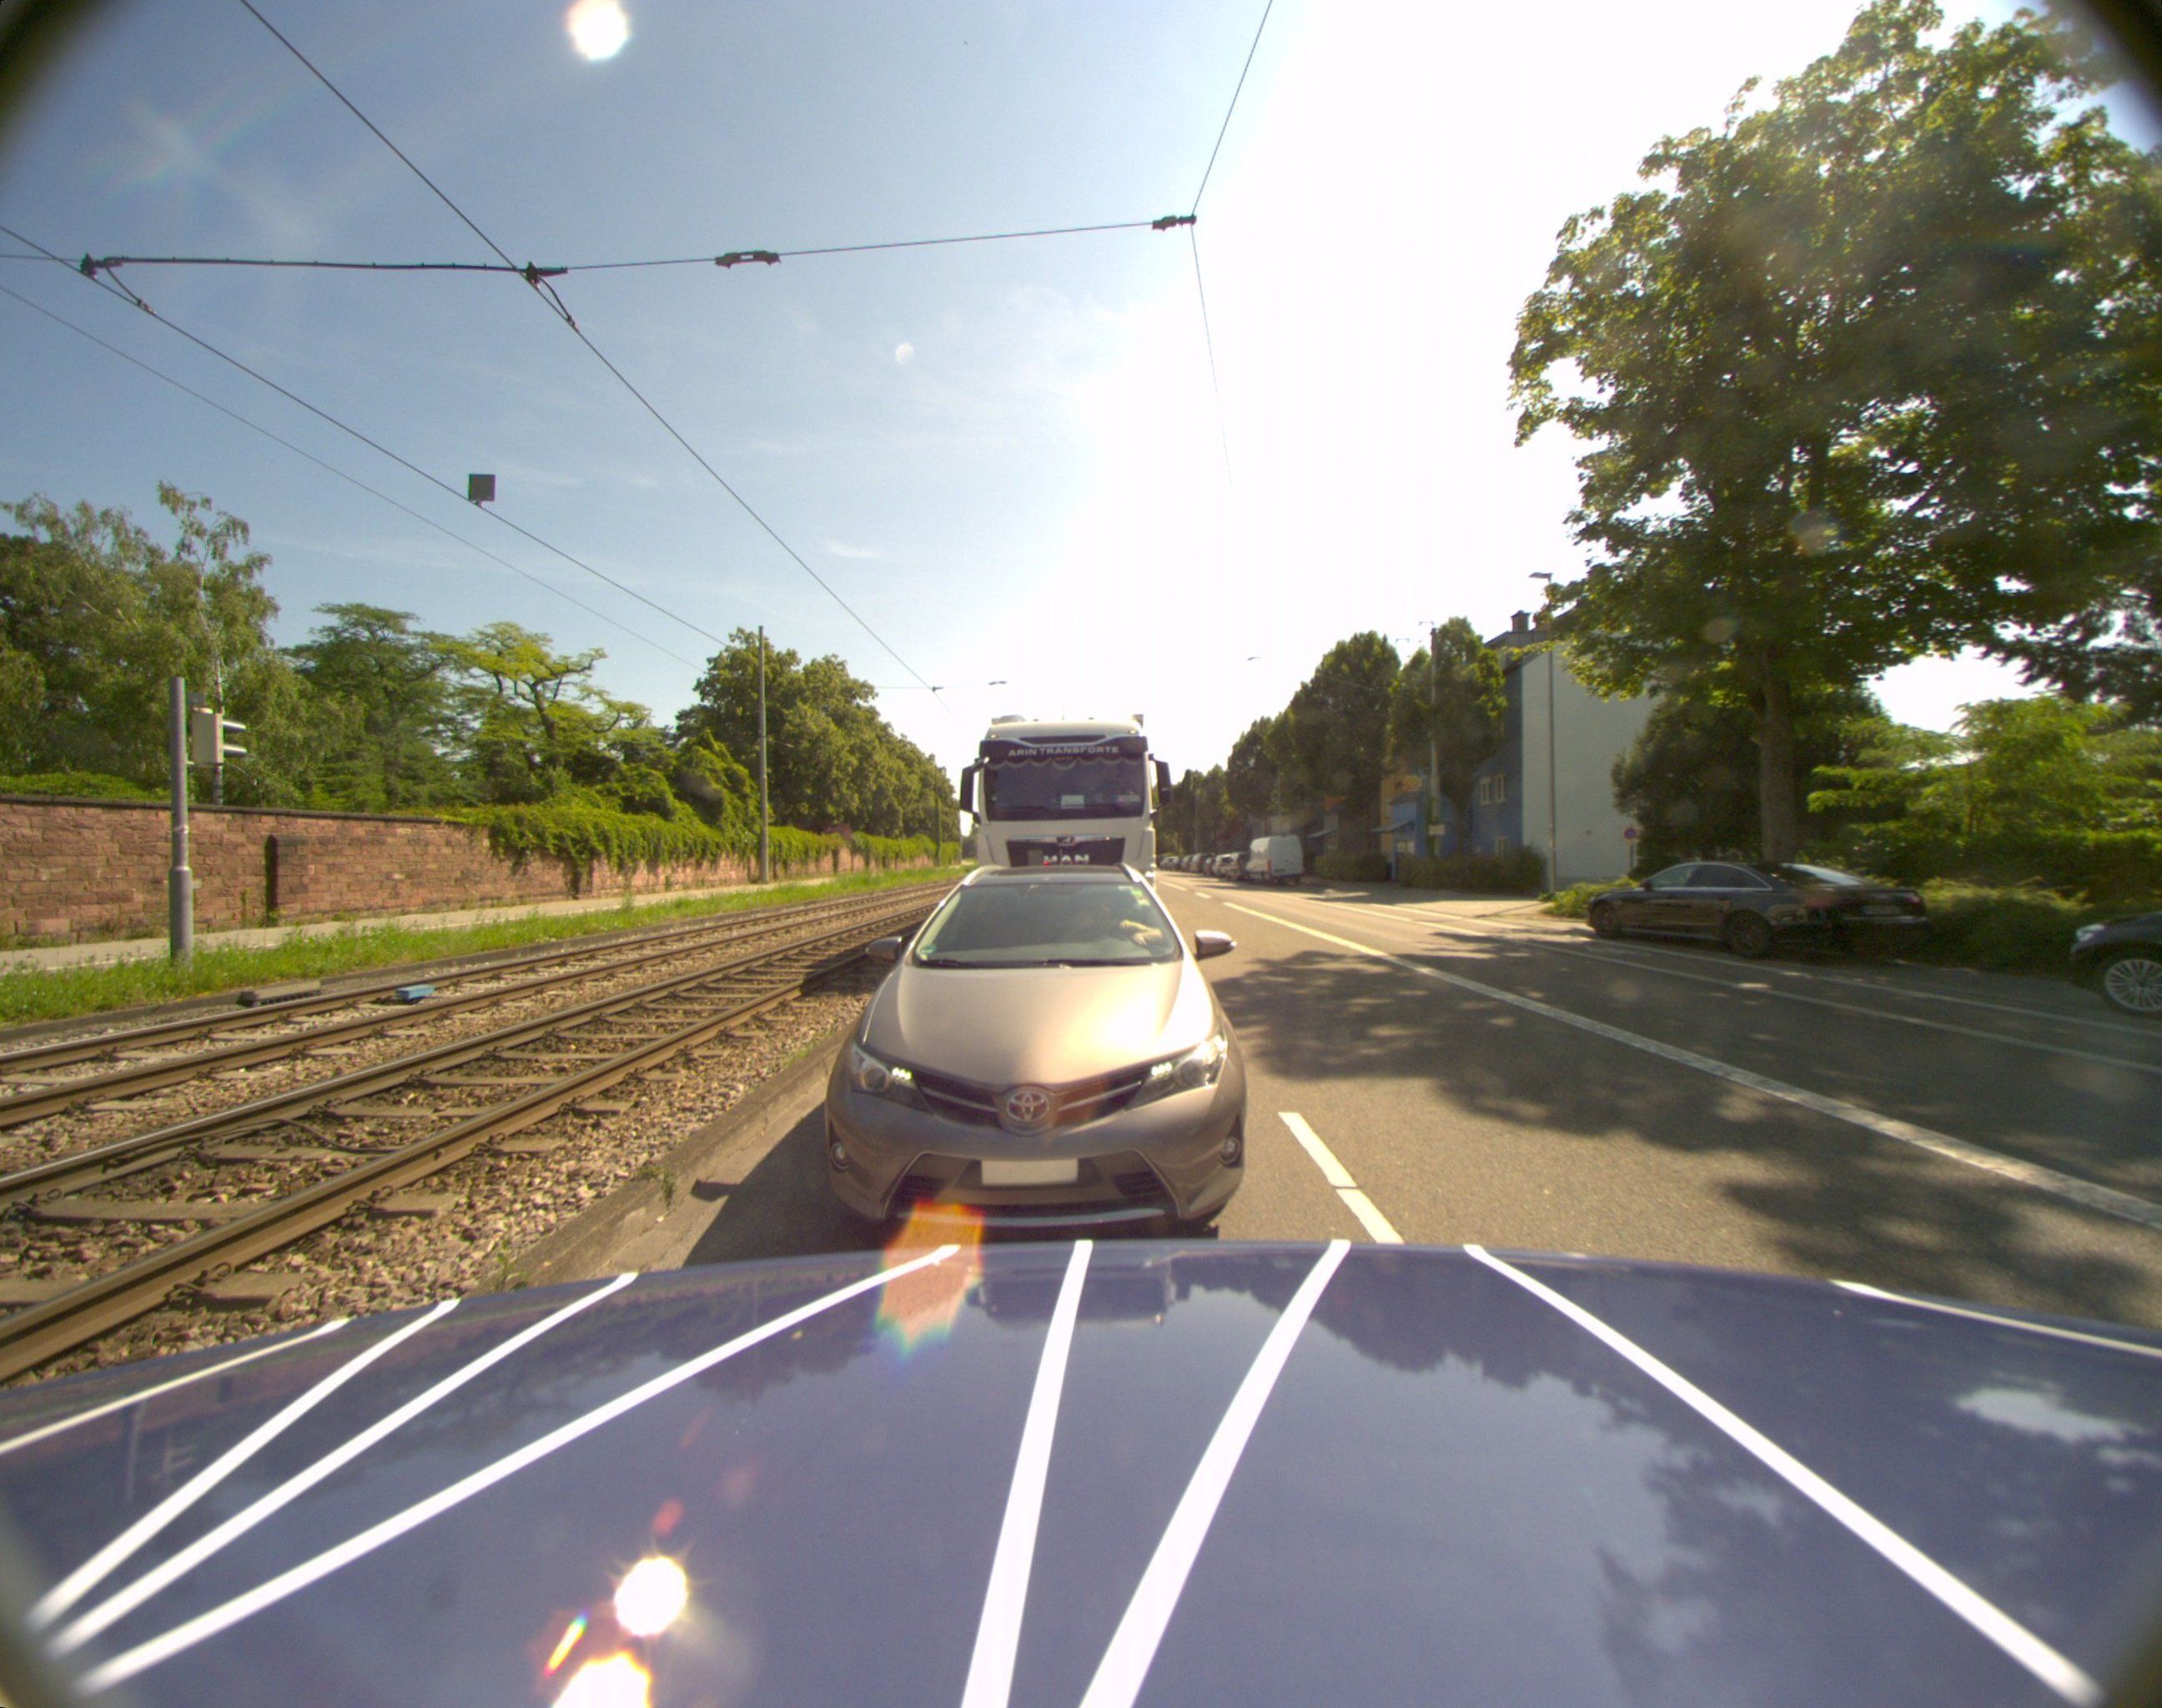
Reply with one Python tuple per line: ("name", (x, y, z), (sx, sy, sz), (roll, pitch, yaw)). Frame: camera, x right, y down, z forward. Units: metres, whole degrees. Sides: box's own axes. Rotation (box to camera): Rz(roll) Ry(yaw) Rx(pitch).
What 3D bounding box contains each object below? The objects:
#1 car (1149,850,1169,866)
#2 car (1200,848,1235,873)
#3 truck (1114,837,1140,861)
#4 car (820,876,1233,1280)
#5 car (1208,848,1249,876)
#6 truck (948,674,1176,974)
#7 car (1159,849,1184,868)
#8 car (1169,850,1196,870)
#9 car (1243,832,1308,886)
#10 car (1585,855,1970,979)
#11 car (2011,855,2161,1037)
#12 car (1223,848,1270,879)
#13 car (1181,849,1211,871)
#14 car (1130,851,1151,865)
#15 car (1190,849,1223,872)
("car", (9.911, 0.451, 96.851), (1.998, 1.795, 4.769), (-6, 0, 0))
("car", (11.232, 0.534, 62.867), (1.998, 1.795, 4.256), (-6, 0, 0))
("truck", (6.995, -0.672, 116.112), (2.704, 3.263, 6.724), (-6, 0, -5))
("car", (-0.184, 0.913, 4.905), (1.573, 1.422, 4.000), (0, 0, 1))
("car", (11.091, 0.580, 57.384), (1.998, 1.795, 4.769), (-6, 0, 0))
("truck", (-0.145, -0.403, 17.252), (2.935, 3.856, 14.912), (0, 0, 1))
("car", (10.192, 0.485, 85.915), (1.998, 1.795, 4.769), (-6, 0, 0))
("car", (10.582, 0.636, 79.172), (1.998, 1.795, 4.769), (-6, 0, 0))
("car", (10.921, 0.252, 43.155), (1.998, 2.678, 6.214), (-6, 0, 2))
("car", (10.572, 0.826, 12.164), (1.868, 1.562, 4.621), (-1, 0, -2))
("car", (10.586, 0.827, 5.575), (1.868, 1.562, 4.621), (-2, 0, 0))
("car", (11.149, 0.637, 51.451), (1.998, 1.795, 4.769), (-6, 0, 0))
("car", (11.032, 0.560, 73.383), (1.998, 1.795, 4.769), (-6, 0, 0))
("car", (8.261, 0.559, 105.572), (1.999, 1.795, 5.111), (-6, 0, -4))
("car", (11.120, 0.562, 67.679), (1.998, 1.795, 4.769), (-6, 0, 0))
